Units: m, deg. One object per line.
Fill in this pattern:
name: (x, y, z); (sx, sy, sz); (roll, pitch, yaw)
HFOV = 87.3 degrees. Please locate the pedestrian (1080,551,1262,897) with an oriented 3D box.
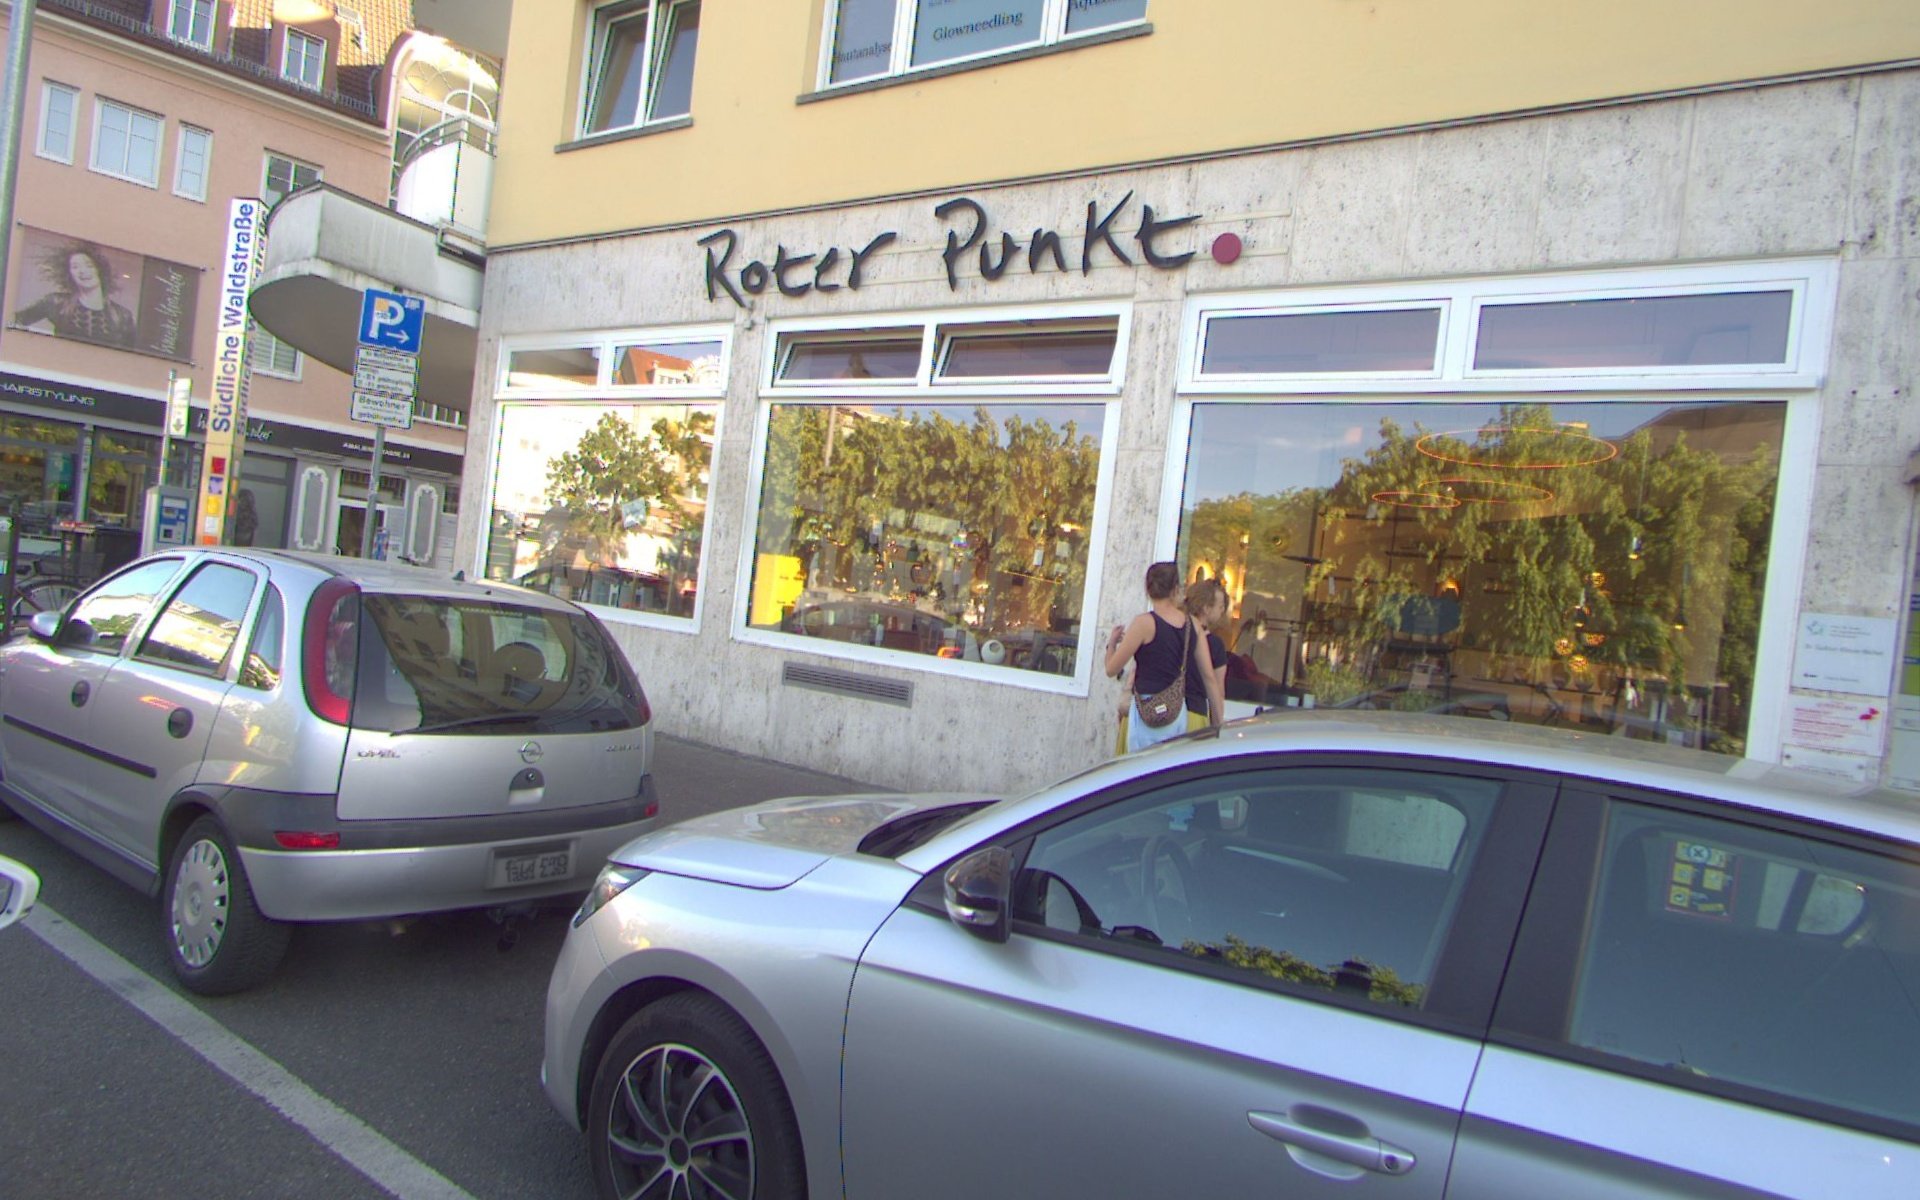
pedestrian: (1.229, 0.680, 5.805); (0.729, 1.805, 0.568); (7, 0, 23)

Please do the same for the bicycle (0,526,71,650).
bicycle: (-9.104, -0.148, 8.814); (0.408, 1.101, 1.872); (6, 1, 35)

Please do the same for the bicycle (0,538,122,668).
bicycle: (-8.108, 0.001, 8.212); (0.348, 1.051, 1.871); (6, 1, 38)

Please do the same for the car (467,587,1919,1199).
car: (0.778, 0.925, 2.269); (3.598, 1.444, 1.550); (6, -1, 30)

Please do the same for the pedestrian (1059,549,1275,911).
pedestrian: (1.031, 0.634, 5.118); (0.649, 1.685, 0.645); (7, 0, -19)

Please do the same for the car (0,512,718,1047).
car: (-2.922, 0.490, 4.444); (3.420, 1.407, 1.548); (6, -1, 33)
